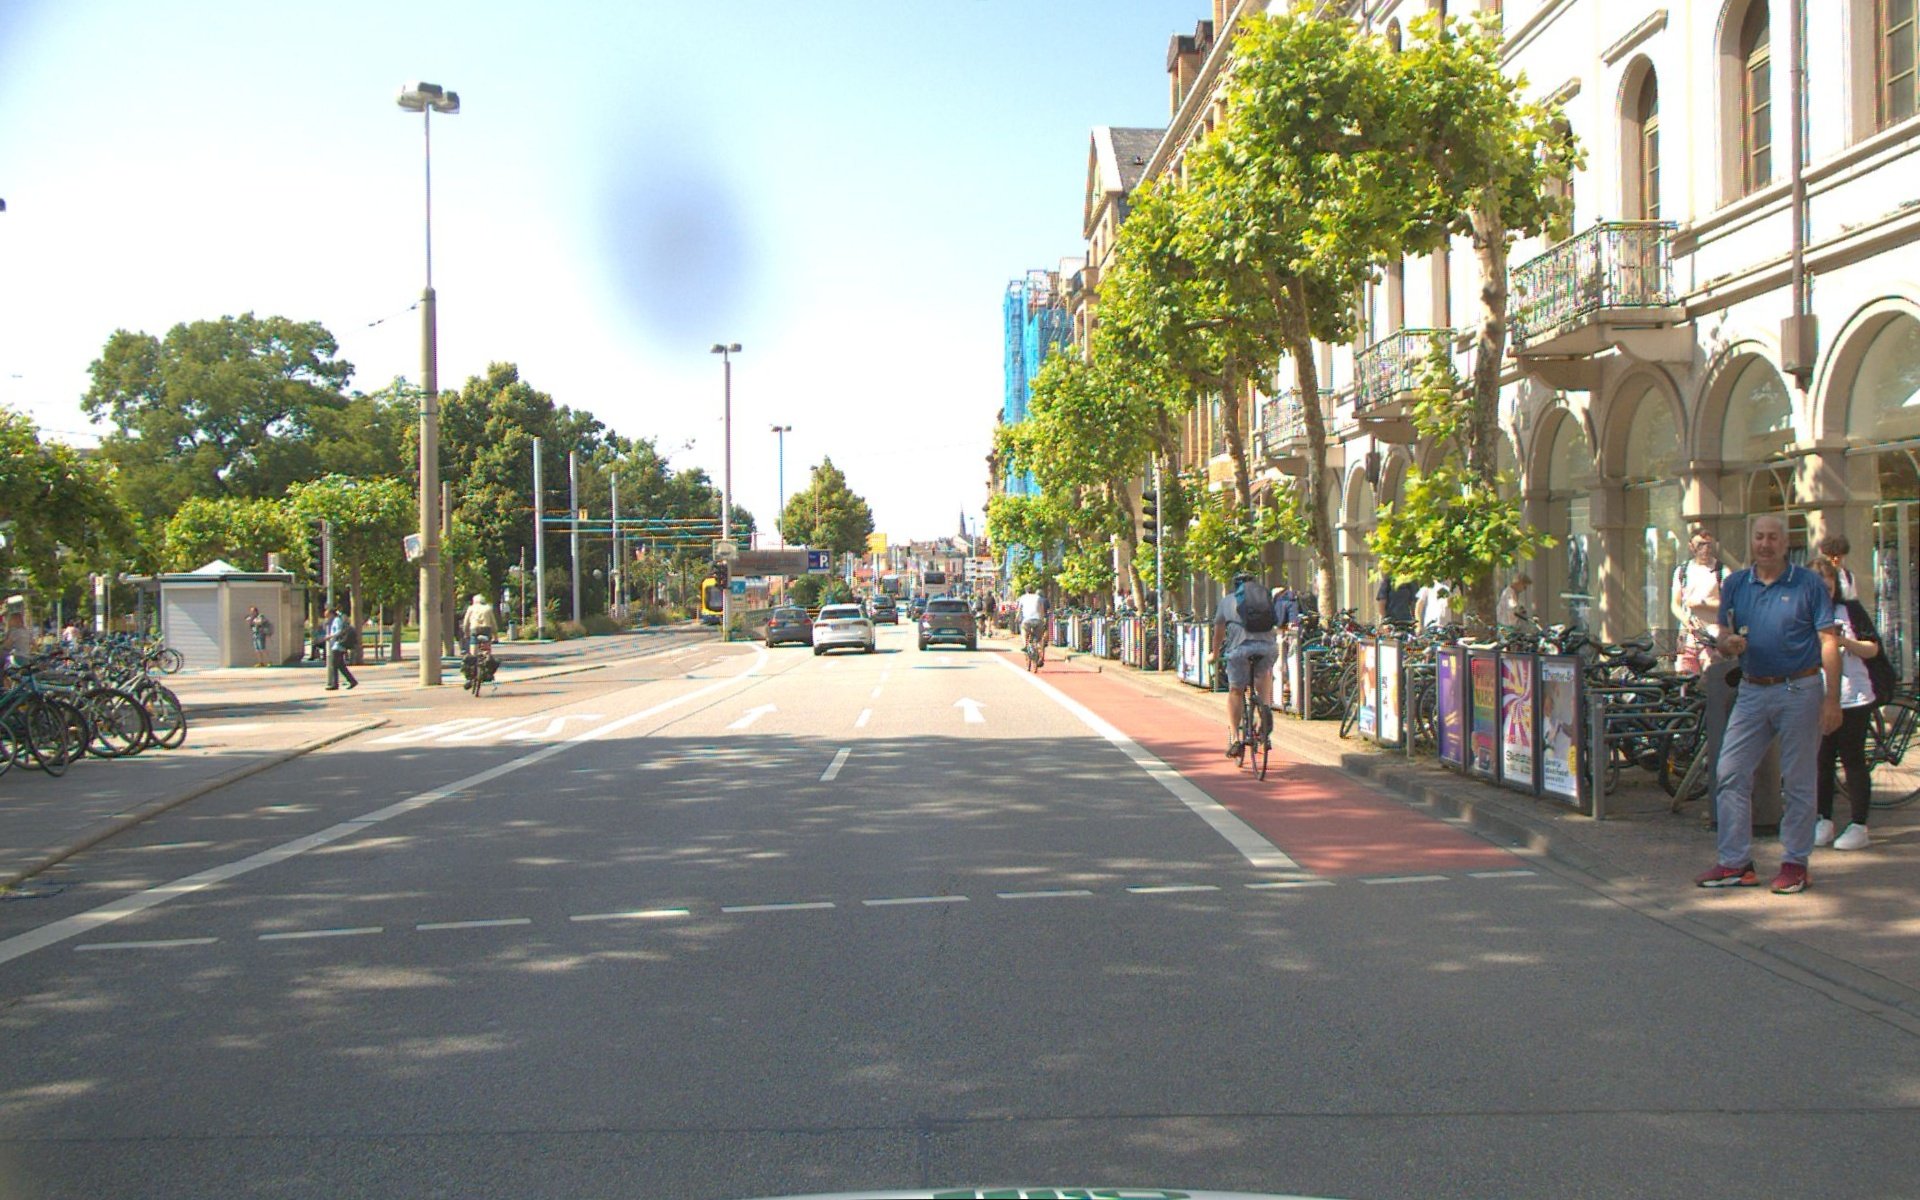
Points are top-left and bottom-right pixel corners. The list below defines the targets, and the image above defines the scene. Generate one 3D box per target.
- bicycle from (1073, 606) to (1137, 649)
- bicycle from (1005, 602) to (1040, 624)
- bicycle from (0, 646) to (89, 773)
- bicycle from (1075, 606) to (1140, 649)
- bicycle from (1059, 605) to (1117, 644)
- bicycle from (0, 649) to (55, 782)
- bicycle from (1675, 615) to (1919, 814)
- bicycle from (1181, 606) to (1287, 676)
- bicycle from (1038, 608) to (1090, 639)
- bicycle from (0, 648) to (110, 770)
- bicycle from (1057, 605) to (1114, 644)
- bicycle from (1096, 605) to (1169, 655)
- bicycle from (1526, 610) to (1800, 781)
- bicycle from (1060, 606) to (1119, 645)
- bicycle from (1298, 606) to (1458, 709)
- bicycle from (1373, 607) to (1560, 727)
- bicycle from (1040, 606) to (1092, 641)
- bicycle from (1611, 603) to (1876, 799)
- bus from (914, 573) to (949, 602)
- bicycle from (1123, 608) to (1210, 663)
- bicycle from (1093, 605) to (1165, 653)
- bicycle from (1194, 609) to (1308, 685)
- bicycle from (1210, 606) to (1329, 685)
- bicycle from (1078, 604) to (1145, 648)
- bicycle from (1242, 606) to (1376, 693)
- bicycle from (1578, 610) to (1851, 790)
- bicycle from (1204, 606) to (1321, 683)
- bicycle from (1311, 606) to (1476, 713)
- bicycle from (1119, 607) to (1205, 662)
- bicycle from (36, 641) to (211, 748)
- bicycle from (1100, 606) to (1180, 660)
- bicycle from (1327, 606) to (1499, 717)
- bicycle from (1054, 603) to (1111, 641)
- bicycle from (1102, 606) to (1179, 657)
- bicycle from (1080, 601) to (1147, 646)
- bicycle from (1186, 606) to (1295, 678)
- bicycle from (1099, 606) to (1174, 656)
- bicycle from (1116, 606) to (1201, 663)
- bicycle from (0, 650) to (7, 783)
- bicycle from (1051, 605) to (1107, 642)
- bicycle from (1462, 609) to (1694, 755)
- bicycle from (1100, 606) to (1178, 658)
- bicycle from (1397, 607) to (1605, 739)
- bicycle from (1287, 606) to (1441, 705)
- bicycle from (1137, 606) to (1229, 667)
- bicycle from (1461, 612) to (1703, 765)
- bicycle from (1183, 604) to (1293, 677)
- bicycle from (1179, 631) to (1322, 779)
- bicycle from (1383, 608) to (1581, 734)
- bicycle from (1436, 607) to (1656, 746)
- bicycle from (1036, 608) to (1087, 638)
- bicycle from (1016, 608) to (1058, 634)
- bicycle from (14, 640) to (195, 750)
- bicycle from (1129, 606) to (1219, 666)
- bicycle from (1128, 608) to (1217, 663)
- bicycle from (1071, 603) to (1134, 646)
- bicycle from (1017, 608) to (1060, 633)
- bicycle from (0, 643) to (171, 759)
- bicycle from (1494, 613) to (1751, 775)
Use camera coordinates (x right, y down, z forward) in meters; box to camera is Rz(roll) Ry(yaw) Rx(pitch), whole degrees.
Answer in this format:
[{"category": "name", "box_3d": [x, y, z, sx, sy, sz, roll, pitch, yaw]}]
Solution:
[{"category": "bicycle", "box_3d": [4.050, 0.756, 46.174, 1.718, 1.167, 0.482, -1, 0, -4]}, {"category": "bicycle", "box_3d": [3.113, 0.649, 82.751, 1.718, 1.036, 0.482, -1, 0, -4]}, {"category": "bicycle", "box_3d": [-9.278, 1.042, 15.710, 1.718, 1.167, 0.482, -1, 0, -4]}, {"category": "bicycle", "box_3d": [4.077, 0.754, 45.669, 1.718, 1.167, 0.482, -1, 0, -4]}, {"category": "bicycle", "box_3d": [3.916, 0.747, 50.672, 1.718, 1.167, 0.482, -1, 0, -4]}, {"category": "bicycle", "box_3d": [-9.203, 1.048, 14.969, 1.718, 1.167, 0.482, -1, 0, -4]}, {"category": "bicycle", "box_3d": [5.279, 0.686, 10.155, 1.596, 1.167, 0.425, -1, 0, -3]}, {"category": "bicycle", "box_3d": [4.747, 0.704, 28.644, 1.738, 1.167, 0.482, -1, 0, -4]}, {"category": "bicycle", "box_3d": [3.569, 0.794, 56.736, 1.718, 1.036, 0.482, -1, 0, -4]}, {"category": "bicycle", "box_3d": [-9.373, 1.070, 16.292, 1.718, 1.167, 0.482, -1, 0, -4]}, {"category": "bicycle", "box_3d": [3.877, 0.757, 51.167, 1.718, 1.167, 0.482, -1, 0, -4]}, {"category": "bicycle", "box_3d": [4.221, 0.730, 40.542, 1.718, 1.208, 0.482, -1, 0, -4]}, {"category": "bicycle", "box_3d": [5.011, 0.668, 11.843, 1.718, 1.167, 0.592, -1, 0, -4]}, {"category": "bicycle", "box_3d": [3.907, 0.773, 50.094, 1.718, 1.167, 0.482, -1, 0, -4]}, {"category": "bicycle", "box_3d": [4.910, 0.667, 19.456, 1.718, 1.167, 0.592, -1, 0, -4]}, {"category": "bicycle", "box_3d": [5.064, 0.660, 16.573, 1.718, 1.167, 0.517, -1, 0, -4]}, {"category": "bicycle", "box_3d": [3.580, 0.792, 55.962, 1.718, 1.167, 0.482, -1, 0, -4]}, {"category": "bicycle", "box_3d": [5.024, 0.638, 10.639, 1.498, 1.218, 0.425, -1, 0, -2]}, {"category": "bus", "box_3d": [-2.864, -1.194, 163.628, 2.910, 2.825, 8.634, -1, 0, -4]}, {"category": "bicycle", "box_3d": [4.260, 0.721, 34.124, 1.718, 1.106, 0.482, -1, 0, -4]}, {"category": "bicycle", "box_3d": [4.207, 0.716, 41.104, 1.718, 1.143, 0.482, -1, 0, -4]}, {"category": "bicycle", "box_3d": [4.629, 0.744, 26.345, 1.718, 1.167, 0.482, -1, 0, -4]}, {"category": "bicycle", "box_3d": [4.707, 0.683, 25.191, 1.718, 1.167, 0.482, -1, 0, -4]}, {"category": "bicycle", "box_3d": [4.088, 0.692, 44.643, 1.718, 1.167, 0.482, -1, 0, -4]}, {"category": "bicycle", "box_3d": [4.834, 0.678, 22.955, 1.718, 1.167, 0.592, -1, 0, -4]}, {"category": "bicycle", "box_3d": [5.108, 0.659, 11.234, 1.623, 1.167, 0.522, -1, 0, -4]}, {"category": "bicycle", "box_3d": [4.691, 0.684, 25.721, 1.718, 1.167, 0.482, -1, 0, -4]}, {"category": "bicycle", "box_3d": [4.920, 0.667, 18.823, 1.718, 1.167, 0.592, -1, 0, -4]}, {"category": "bicycle", "box_3d": [4.225, 0.723, 34.624, 1.718, 1.124, 0.482, -1, 0, -4]}, {"category": "bicycle", "box_3d": [-9.501, 1.067, 18.814, 1.718, 1.167, 0.482, -1, 0, -4]}, {"category": "bicycle", "box_3d": [4.004, 0.726, 36.830, 1.718, 1.167, 0.482, -1, 0, -4]}, {"category": "bicycle", "box_3d": [4.950, 0.663, 18.124, 1.718, 1.167, 0.592, -1, 0, -4]}, {"category": "bicycle", "box_3d": [3.837, 0.694, 51.662, 1.718, 1.167, 0.482, -1, 0, -4]}, {"category": "bicycle", "box_3d": [4.244, 0.734, 38.856, 1.718, 1.167, 0.527, -1, 0, -4]}, {"category": "bicycle", "box_3d": [4.090, 0.620, 44.047, 1.718, 1.167, 0.499, -1, 0, -4]}, {"category": "bicycle", "box_3d": [4.657, 0.692, 27.539, 1.718, 1.167, 0.482, -1, 0, -4]}, {"category": "bicycle", "box_3d": [4.200, 0.736, 39.426, 1.718, 1.167, 0.482, -1, 0, -4]}, {"category": "bicycle", "box_3d": [4.205, 0.727, 35.118, 1.718, 1.167, 0.482, -1, 0, -4]}, {"category": "bicycle", "box_3d": [-9.286, 1.036, 14.343, 1.718, 1.167, 0.482, -1, 0, -4]}, {"category": "bicycle", "box_3d": [3.784, 0.742, 52.650, 1.718, 1.167, 0.482, -1, 0, -4]}, {"category": "bicycle", "box_3d": [5.166, 0.672, 13.870, 1.718, 1.178, 0.592, -1, 0, -4]}, {"category": "bicycle", "box_3d": [4.138, 0.734, 38.304, 1.718, 1.167, 0.482, -1, 0, -4]}, {"category": "bicycle", "box_3d": [4.962, 0.656, 15.216, 1.718, 1.167, 0.592, -1, 0, -4]}, {"category": "bicycle", "box_3d": [4.909, 0.669, 20.132, 1.718, 1.167, 0.592, -1, 0, -4]}, {"category": "bicycle", "box_3d": [4.389, 0.714, 32.568, 1.718, 1.167, 0.482, -1, 0, -4]}, {"category": "bicycle", "box_3d": [4.959, 0.693, 13.234, 1.718, 1.167, 0.592, -1, 0, -4]}, {"category": "bicycle", "box_3d": [4.718, 0.681, 28.091, 1.764, 1.215, 0.482, -1, 0, -4]}, {"category": "bicycle", "box_3d": [2.414, 0.842, 14.018, 0.719, 1.112, 2.129, 1, 0, -3]}, {"category": "bicycle", "box_3d": [5.017, 0.666, 15.943, 1.718, 1.167, 0.592, -1, 0, -4]}, {"category": "bicycle", "box_3d": [5.108, 0.652, 14.469, 1.718, 1.167, 0.592, -1, 0, -4]}, {"category": "bicycle", "box_3d": [3.516, 0.796, 57.395, 1.718, 1.036, 0.482, -1, 0, -4]}, {"category": "bicycle", "box_3d": [3.227, 0.871, 69.271, 1.718, 1.036, 0.482, -1, 0, -4]}, {"category": "bicycle", "box_3d": [-9.453, 1.044, 18.310, 1.718, 1.167, 0.482, -1, 0, -4]}, {"category": "bicycle", "box_3d": [4.275, 0.718, 33.070, 1.718, 1.167, 0.482, -1, 0, -4]}, {"category": "bicycle", "box_3d": [4.307, 0.719, 33.568, 1.718, 1.087, 0.482, -1, 0, -4]}, {"category": "bicycle", "box_3d": [4.017, 0.687, 46.666, 1.718, 1.167, 0.482, -1, 0, -4]}, {"category": "bicycle", "box_3d": [3.257, 0.841, 68.670, 1.718, 1.036, 0.482, -1, 0, -4]}, {"category": "bicycle", "box_3d": [-9.326, 1.047, 17.357, 1.823, 1.167, 0.482, -1, 0, -4]}, {"category": "bicycle", "box_3d": [5.001, 0.693, 12.530, 1.718, 1.167, 0.592, -1, 0, -4]}]
